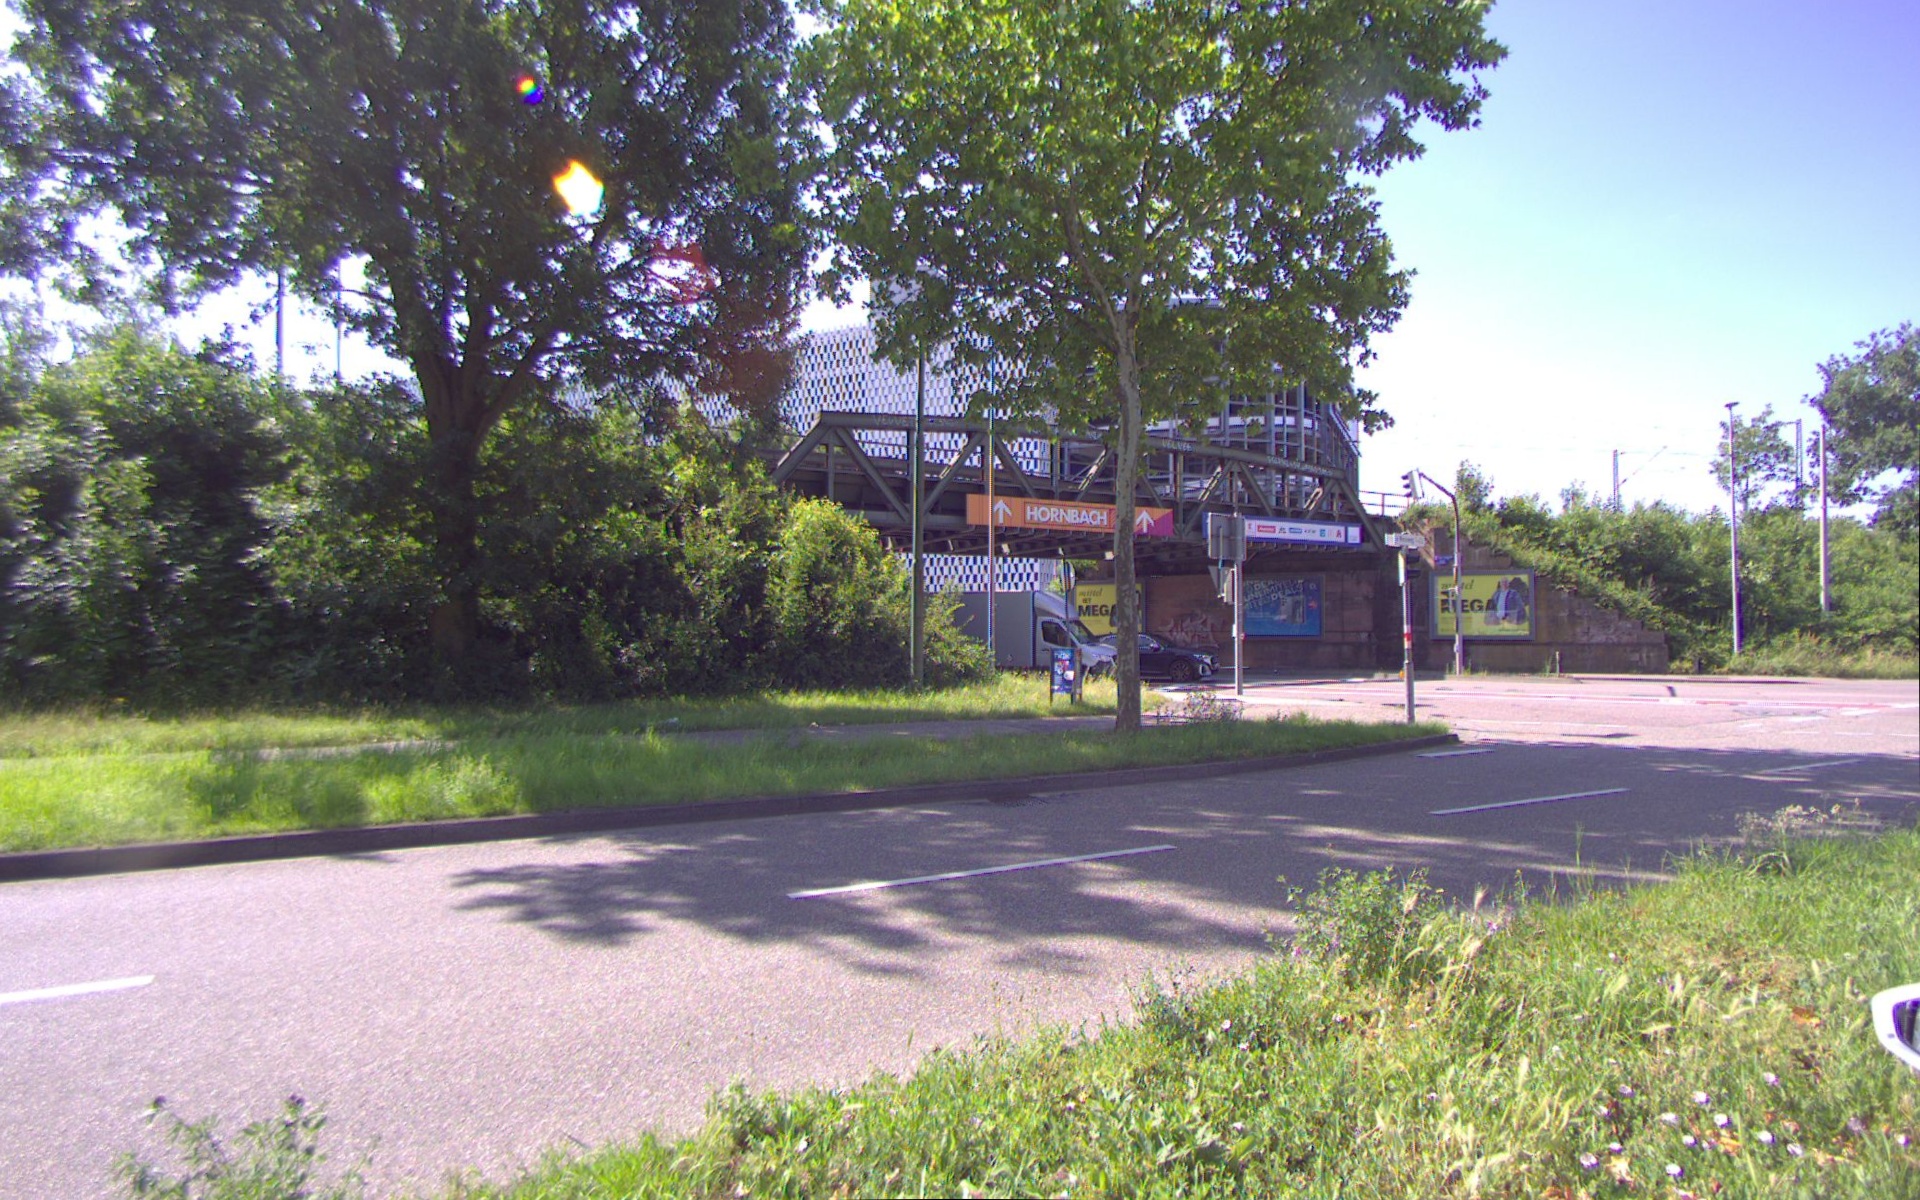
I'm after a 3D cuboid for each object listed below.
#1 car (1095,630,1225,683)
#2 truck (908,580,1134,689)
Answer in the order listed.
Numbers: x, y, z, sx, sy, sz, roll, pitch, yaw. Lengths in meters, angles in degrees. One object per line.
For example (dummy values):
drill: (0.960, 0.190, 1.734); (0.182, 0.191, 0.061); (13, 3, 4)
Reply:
car: (6.792, 1.911, 34.125); (3.926, 1.668, 1.902); (-2, -2, 27)
truck: (1.862, 1.132, 31.631); (6.739, 3.146, 2.216); (-2, -2, 27)
